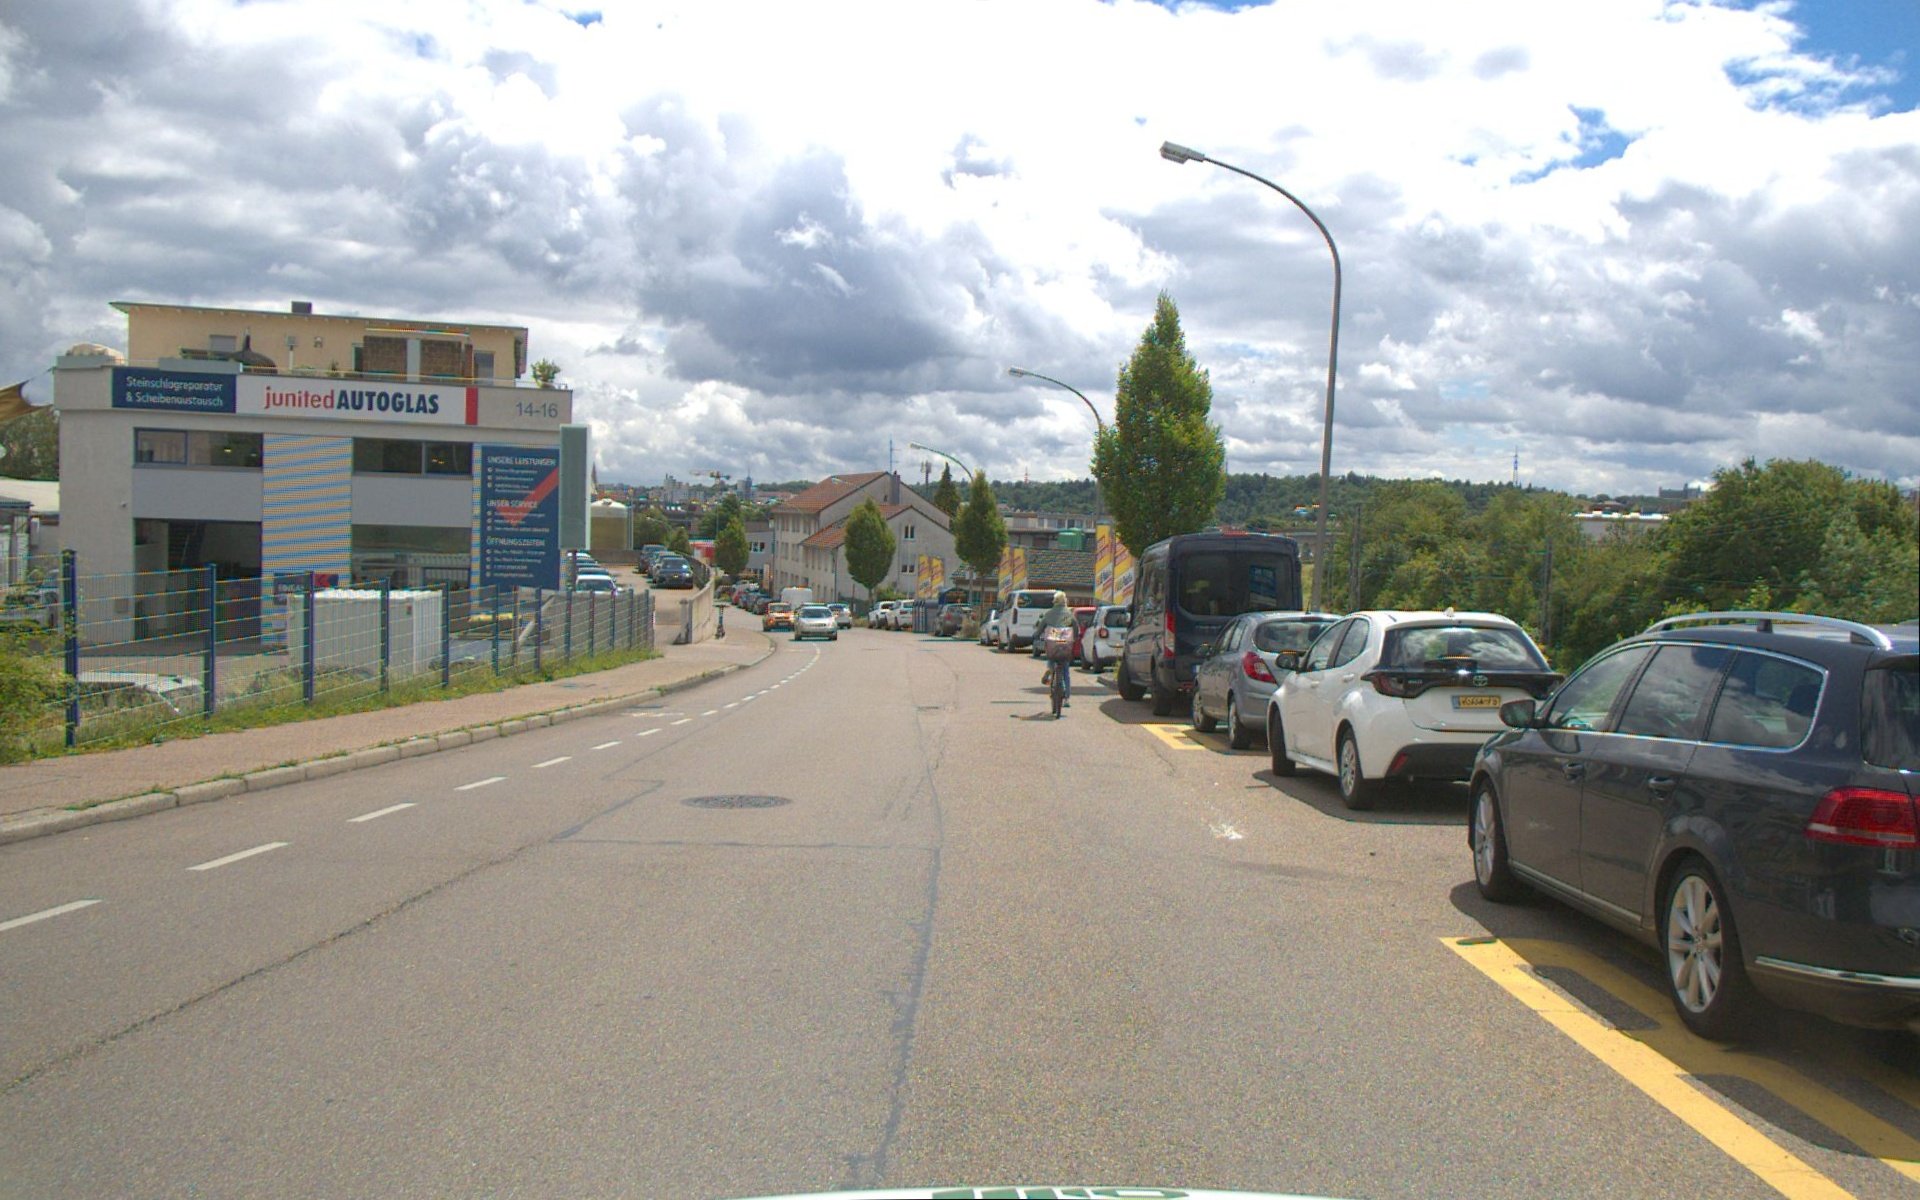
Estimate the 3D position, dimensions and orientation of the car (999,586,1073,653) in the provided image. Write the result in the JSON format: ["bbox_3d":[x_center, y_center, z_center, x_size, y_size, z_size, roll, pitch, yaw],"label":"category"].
[{"bbox_3d":[2.465,0.622,54.793,1.954,2.049,4.915,2,0,-3],"label":"car"}]

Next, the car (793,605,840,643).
[{"bbox_3d":[-6.241,1.017,71.670,1.671,1.589,4.317,0,0,-10],"label":"car"}]

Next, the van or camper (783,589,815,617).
[{"bbox_3d":[-12.903,0.235,132.429,1.959,2.048,3.987,3,0,-13],"label":"van or camper"}]

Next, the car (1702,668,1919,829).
[{"bbox_3d":[11.089,1.763,20.542,1.671,1.537,4.529,2,0,0],"label":"car"}]

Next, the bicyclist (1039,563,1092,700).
[{"bbox_3d":[1.458,0.427,23.000,0.670,1.857,1.080,-1,0,1],"label":"bicyclist"}]

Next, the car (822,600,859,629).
[{"bbox_3d":[-7.019,0.839,96.682,1.955,1.646,3.994,-1,0,-7],"label":"car"}]

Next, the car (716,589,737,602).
[{"bbox_3d":[-25.741,-0.490,182.229,1.959,1.445,3.987,-1,0,-13],"label":"car"}]

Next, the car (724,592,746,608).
[{"bbox_3d":[-22.651,0.007,166.406,1.958,1.489,3.988,-1,0,-12],"label":"car"}]

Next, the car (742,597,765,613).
[{"bbox_3d":[-19.996,0.448,160.123,1.958,1.489,3.988,-1,0,-12],"label":"car"}]

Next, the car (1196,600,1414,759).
[{"bbox_3d":[3.812,0.818,18.867,1.671,1.537,3.696,2,0,0],"label":"car"}]

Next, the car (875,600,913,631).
[{"bbox_3d":[-3.901,0.893,97.175,1.808,1.736,3.993,-1,0,-8],"label":"car"}]

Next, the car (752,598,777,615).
[{"bbox_3d":[-17.617,0.548,148.937,1.958,1.489,3.988,-1,0,-12],"label":"car"}]

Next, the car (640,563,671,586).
[{"bbox_3d":[-18.425,-1.574,100.014,1.641,1.346,3.706,-1,1,-13],"label":"car"}]

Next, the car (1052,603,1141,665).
[{"bbox_3d":[3.552,0.850,43.672,1.838,1.534,3.998,-1,0,-3],"label":"car"}]

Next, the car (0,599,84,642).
[{"bbox_3d":[-31.823,0.692,57.065,1.961,1.378,3.983,1,0,-15],"label":"car"}]

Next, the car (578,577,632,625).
[{"bbox_3d":[-12.937,0.028,60.153,1.815,1.679,3.986,-1,0,-13],"label":"car"}]

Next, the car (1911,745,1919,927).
[{"bbox_3d":[9.017,2.063,12.344,1.671,1.537,3.696,2,0,0],"label":"car"}]

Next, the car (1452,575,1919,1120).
[{"bbox_3d":[3.526,0.703,6.689,1.671,1.513,4.573,2,0,0],"label":"car"}]

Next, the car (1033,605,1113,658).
[{"bbox_3d":[3.259,0.881,48.125,1.865,1.467,3.541,-1,0,-4],"label":"car"}]

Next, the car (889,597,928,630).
[{"bbox_3d":[-2.881,0.743,91.599,1.779,1.736,3.993,-1,0,-8],"label":"car"}]

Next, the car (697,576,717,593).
[{"bbox_3d":[-31.976,-1.958,208.672,1.961,2.048,3.983,3,0,-16],"label":"car"}]

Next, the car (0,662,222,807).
[{"bbox_3d":[-13.682,2.014,25.259,3.907,2.049,1.999,0,0,-3],"label":"car"}]

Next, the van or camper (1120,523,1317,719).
[{"bbox_3d":[3.785,0.288,25.328,2.081,2.630,5.917,1,0,0],"label":"van or camper"}]

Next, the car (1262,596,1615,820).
[{"bbox_3d":[3.761,0.763,13.718,1.671,1.505,3.957,2,0,-1],"label":"car"}]

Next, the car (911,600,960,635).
[{"bbox_3d":[-1.286,0.894,86.286,2.094,1.736,3.993,-1,0,-8],"label":"car"}]

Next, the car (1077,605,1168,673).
[{"bbox_3d":[3.807,0.886,39.127,1.757,1.532,2.905,-1,0,-2],"label":"car"}]

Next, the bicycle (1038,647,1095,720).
[{"bbox_3d":[1.460,1.138,22.980,0.673,0.893,2.102,-1,0,1],"label":"bicycle"}]

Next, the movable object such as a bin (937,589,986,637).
[{"bbox_3d":[0.049,0.628,81.951,2.094,2.343,2.553,-1,0,-8],"label":"movable object such as a bin"}]

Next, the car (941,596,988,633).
[{"bbox_3d":[0.183,0.654,77.377,1.954,1.646,3.997,-1,0,-4],"label":"car"}]

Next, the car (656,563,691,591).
[{"bbox_3d":[-14.342,-1.168,82.571,1.640,1.346,3.709,0,1,-11],"label":"car"}]

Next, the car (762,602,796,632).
[{"bbox_3d":[-9.937,0.906,90.782,1.677,1.601,3.992,-1,0,-9],"label":"car"}]
